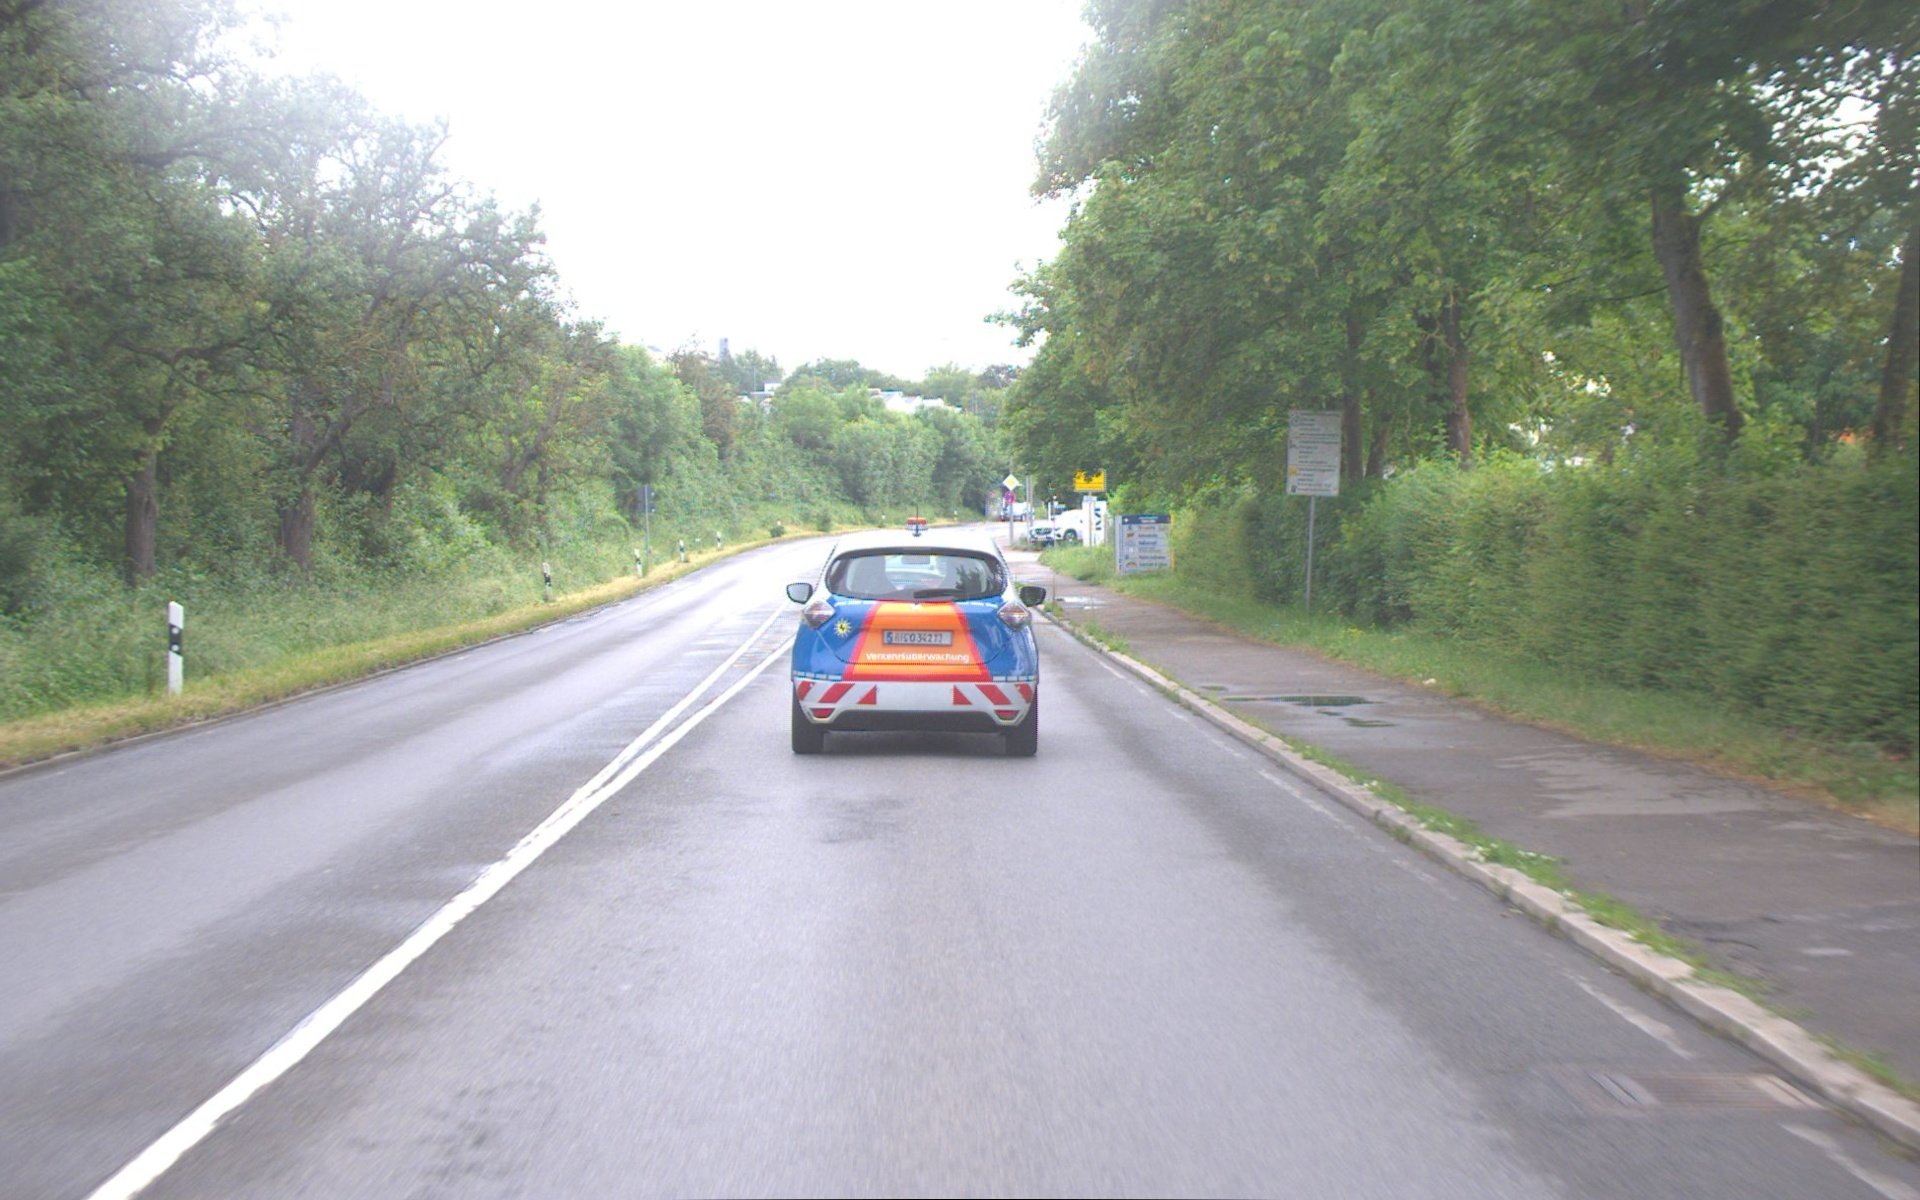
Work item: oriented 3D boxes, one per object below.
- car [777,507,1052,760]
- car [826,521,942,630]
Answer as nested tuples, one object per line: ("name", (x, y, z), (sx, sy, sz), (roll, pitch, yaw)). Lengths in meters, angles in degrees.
("car", (-0.340, 0.193, 24.966), (1.806, 1.662, 3.856), (1, 1, -1))
("car", (-1.189, -0.400, 53.344), (1.694, 1.590, 3.856), (1, 1, -2))
